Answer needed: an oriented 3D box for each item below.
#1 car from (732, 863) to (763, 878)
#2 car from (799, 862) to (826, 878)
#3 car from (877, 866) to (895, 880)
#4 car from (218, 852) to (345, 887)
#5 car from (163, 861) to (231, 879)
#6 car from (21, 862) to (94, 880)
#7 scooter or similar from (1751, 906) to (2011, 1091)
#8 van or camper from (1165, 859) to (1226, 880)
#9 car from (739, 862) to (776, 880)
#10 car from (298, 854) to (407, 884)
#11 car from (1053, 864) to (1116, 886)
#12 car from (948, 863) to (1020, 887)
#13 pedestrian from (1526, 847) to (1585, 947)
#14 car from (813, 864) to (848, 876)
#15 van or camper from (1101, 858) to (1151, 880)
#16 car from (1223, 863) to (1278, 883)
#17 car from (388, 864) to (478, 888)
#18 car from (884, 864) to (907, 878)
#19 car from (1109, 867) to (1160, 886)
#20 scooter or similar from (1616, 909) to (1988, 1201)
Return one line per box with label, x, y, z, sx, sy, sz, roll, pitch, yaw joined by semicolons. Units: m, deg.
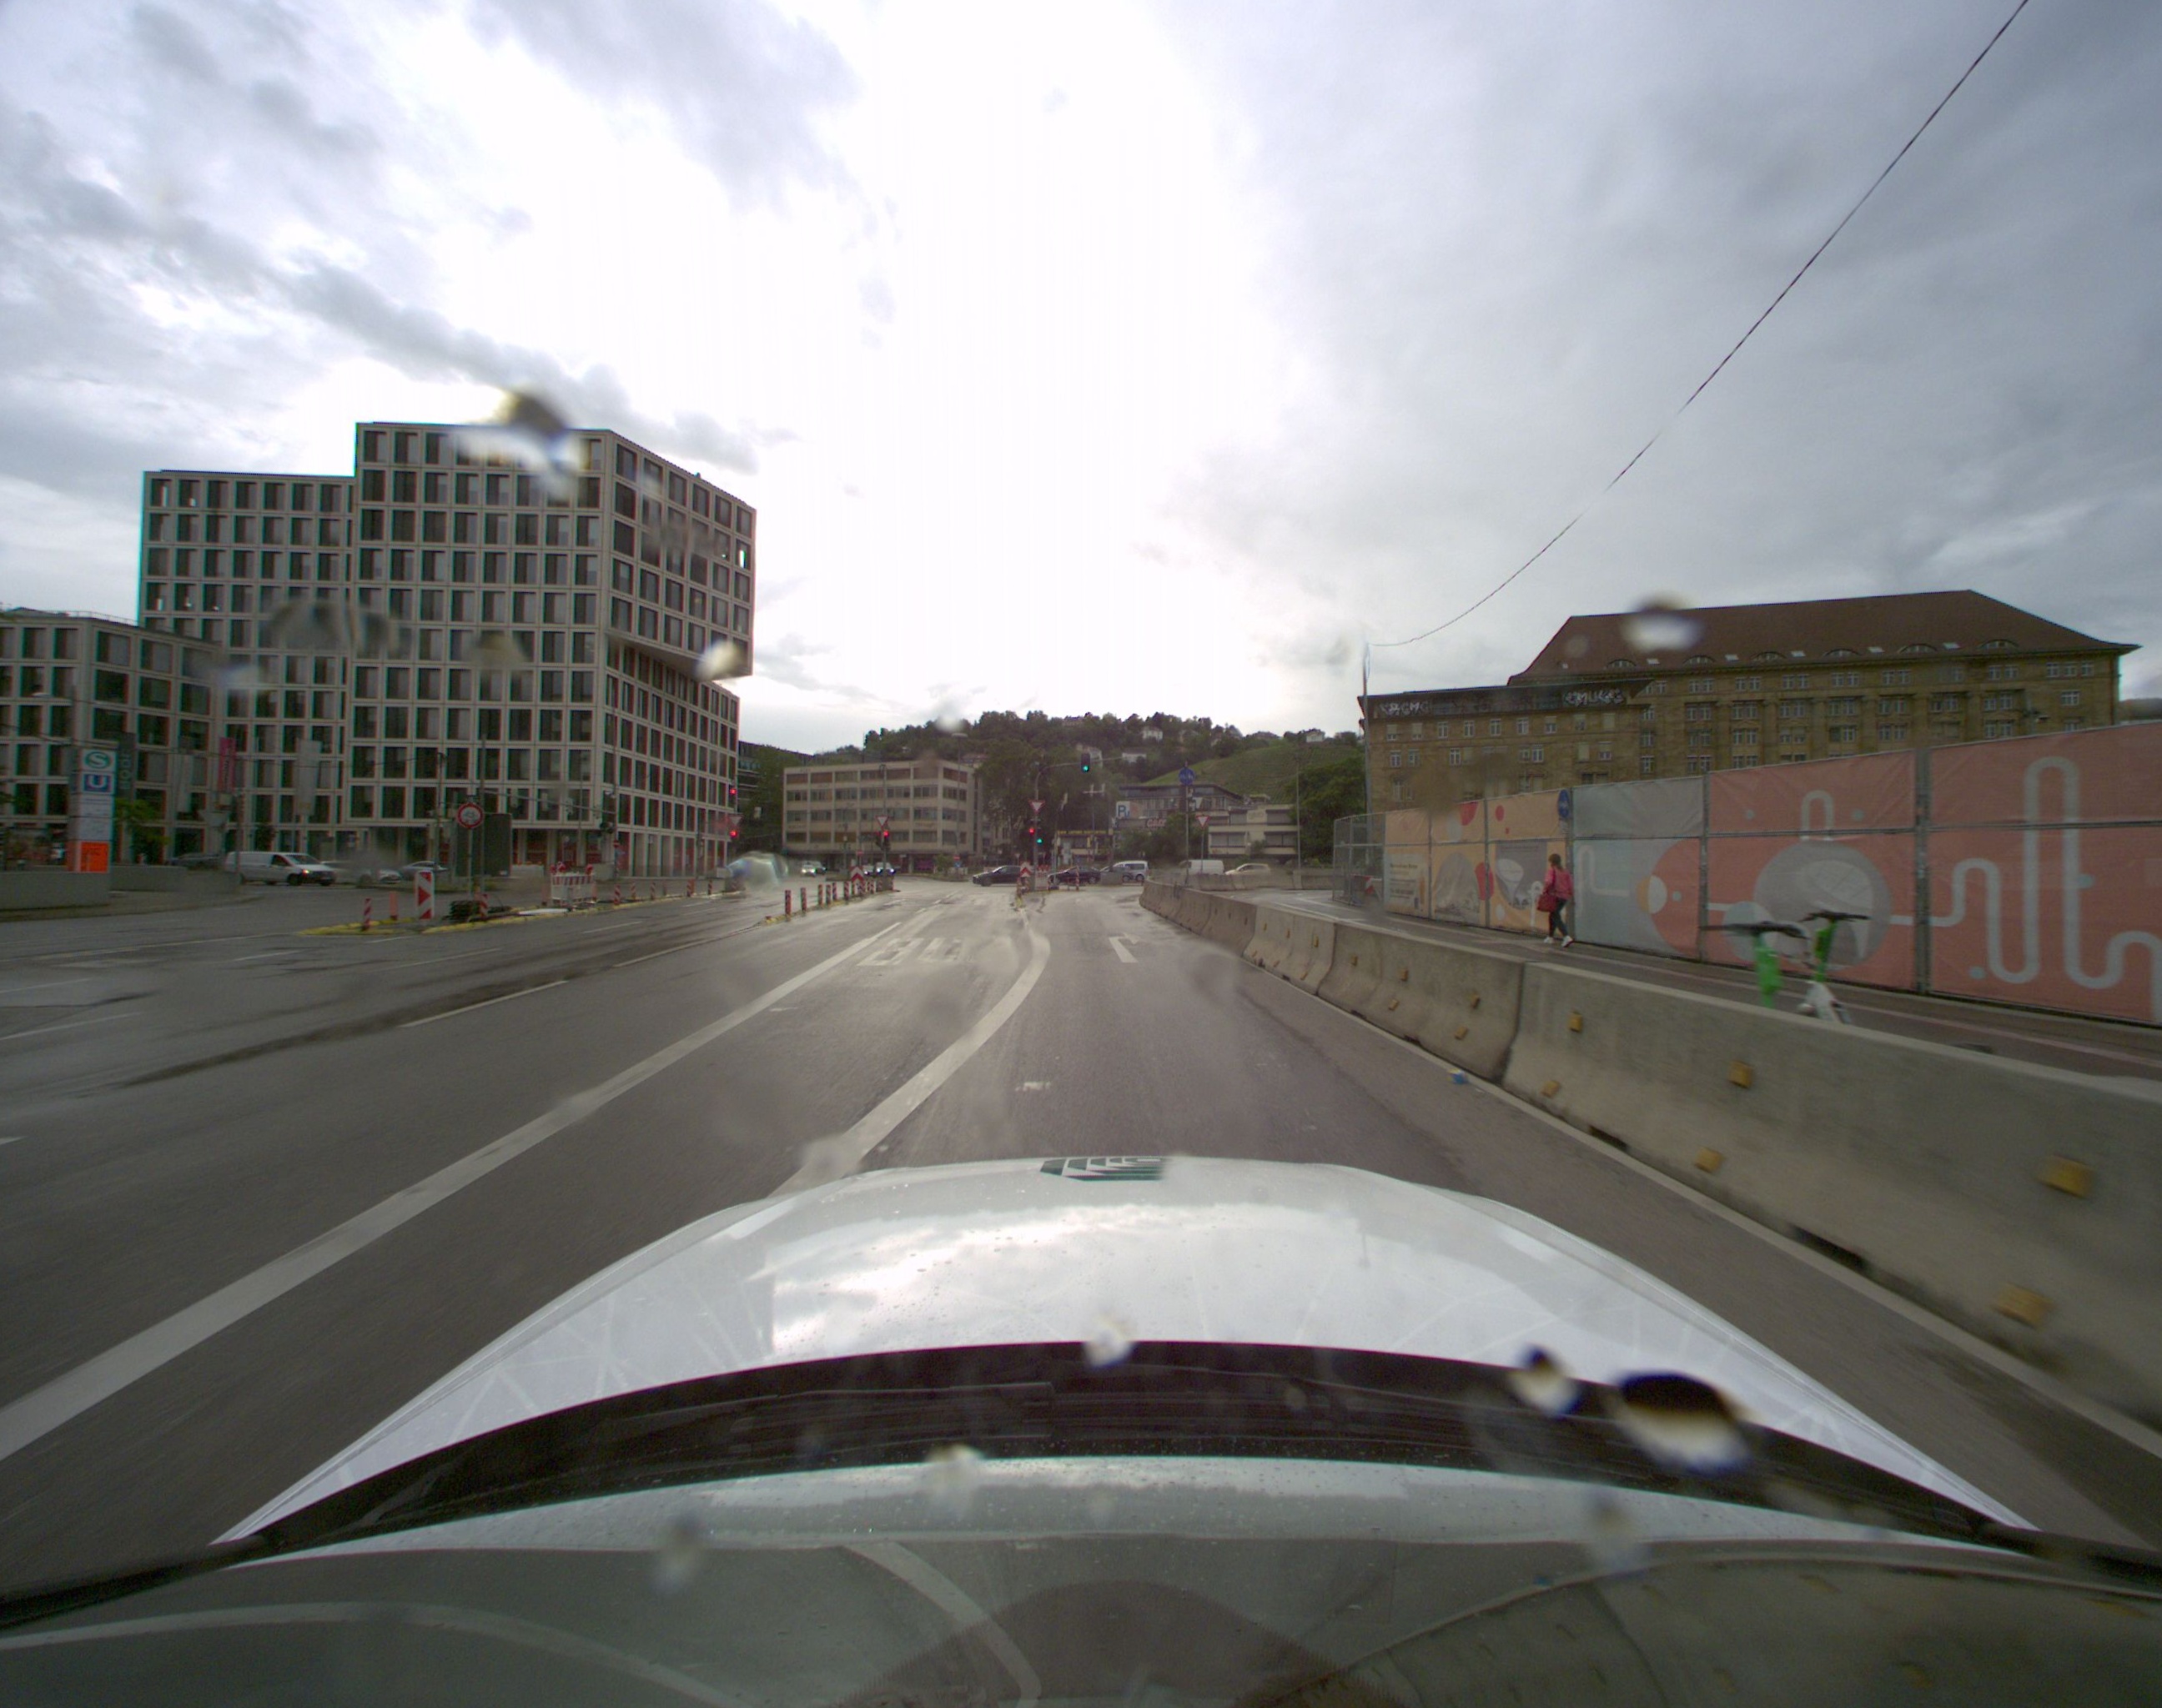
car;-43.849;2.145;107.078;3.948;1.816;1.817;0;-1;35
car;-32.129;1.927;97.522;1.793;1.816;4.001;0;0;1
car;-21.301;2.060;88.915;1.832;1.486;3.983;0;-1;-13
car;-44.795;0.839;45.709;5.048;1.904;2.088;0;-1;2
car;-76.359;1.421;70.369;3.968;1.523;1.869;0;-1;4
car;-88.064;1.455;70.109;3.971;1.523;1.868;0;-1;2
scooter or similar;6.129;1.042;6.342;0.468;1.183;1.408;1;-1;-13
van or camper;10.295;1.415;73.381;5.189;1.894;1.884;0;-1;-6
car;-33.288;1.755;83.982;2.219;1.753;4.803;0;-1;-5
car;-43.833;0.884;49.060;4.633;1.738;2.018;0;-1;-1
car;0.210;1.569;61.873;4.641;1.598;2.014;0;-1;-6
car;-6.739;1.429;56.696;4.664;1.598;2.004;0;-1;-20
pedestrian;9.122;0.809;15.671;0.718;1.866;0.708;0;-1;-6
car;-32.803;2.079;106.831;3.960;1.557;1.896;-1;-1;12
van or camper;4.020;1.332;72.947;4.237;1.979;1.847;0;-1;-6
car;14.653;1.626;70.490;4.353;1.673;1.847;0;-1;-1
car;-44.052;1.472;55.427;4.627;1.598;2.020;0;-1;4
car;-26.423;2.396;115.668;2.007;2.014;3.960;1;-1;-32
car;4.579;1.917;69.897;4.162;1.598;1.847;0;-1;-6
scooter or similar;3.772;0.960;4.467;0.672;1.214;1.572;0;-1;1
